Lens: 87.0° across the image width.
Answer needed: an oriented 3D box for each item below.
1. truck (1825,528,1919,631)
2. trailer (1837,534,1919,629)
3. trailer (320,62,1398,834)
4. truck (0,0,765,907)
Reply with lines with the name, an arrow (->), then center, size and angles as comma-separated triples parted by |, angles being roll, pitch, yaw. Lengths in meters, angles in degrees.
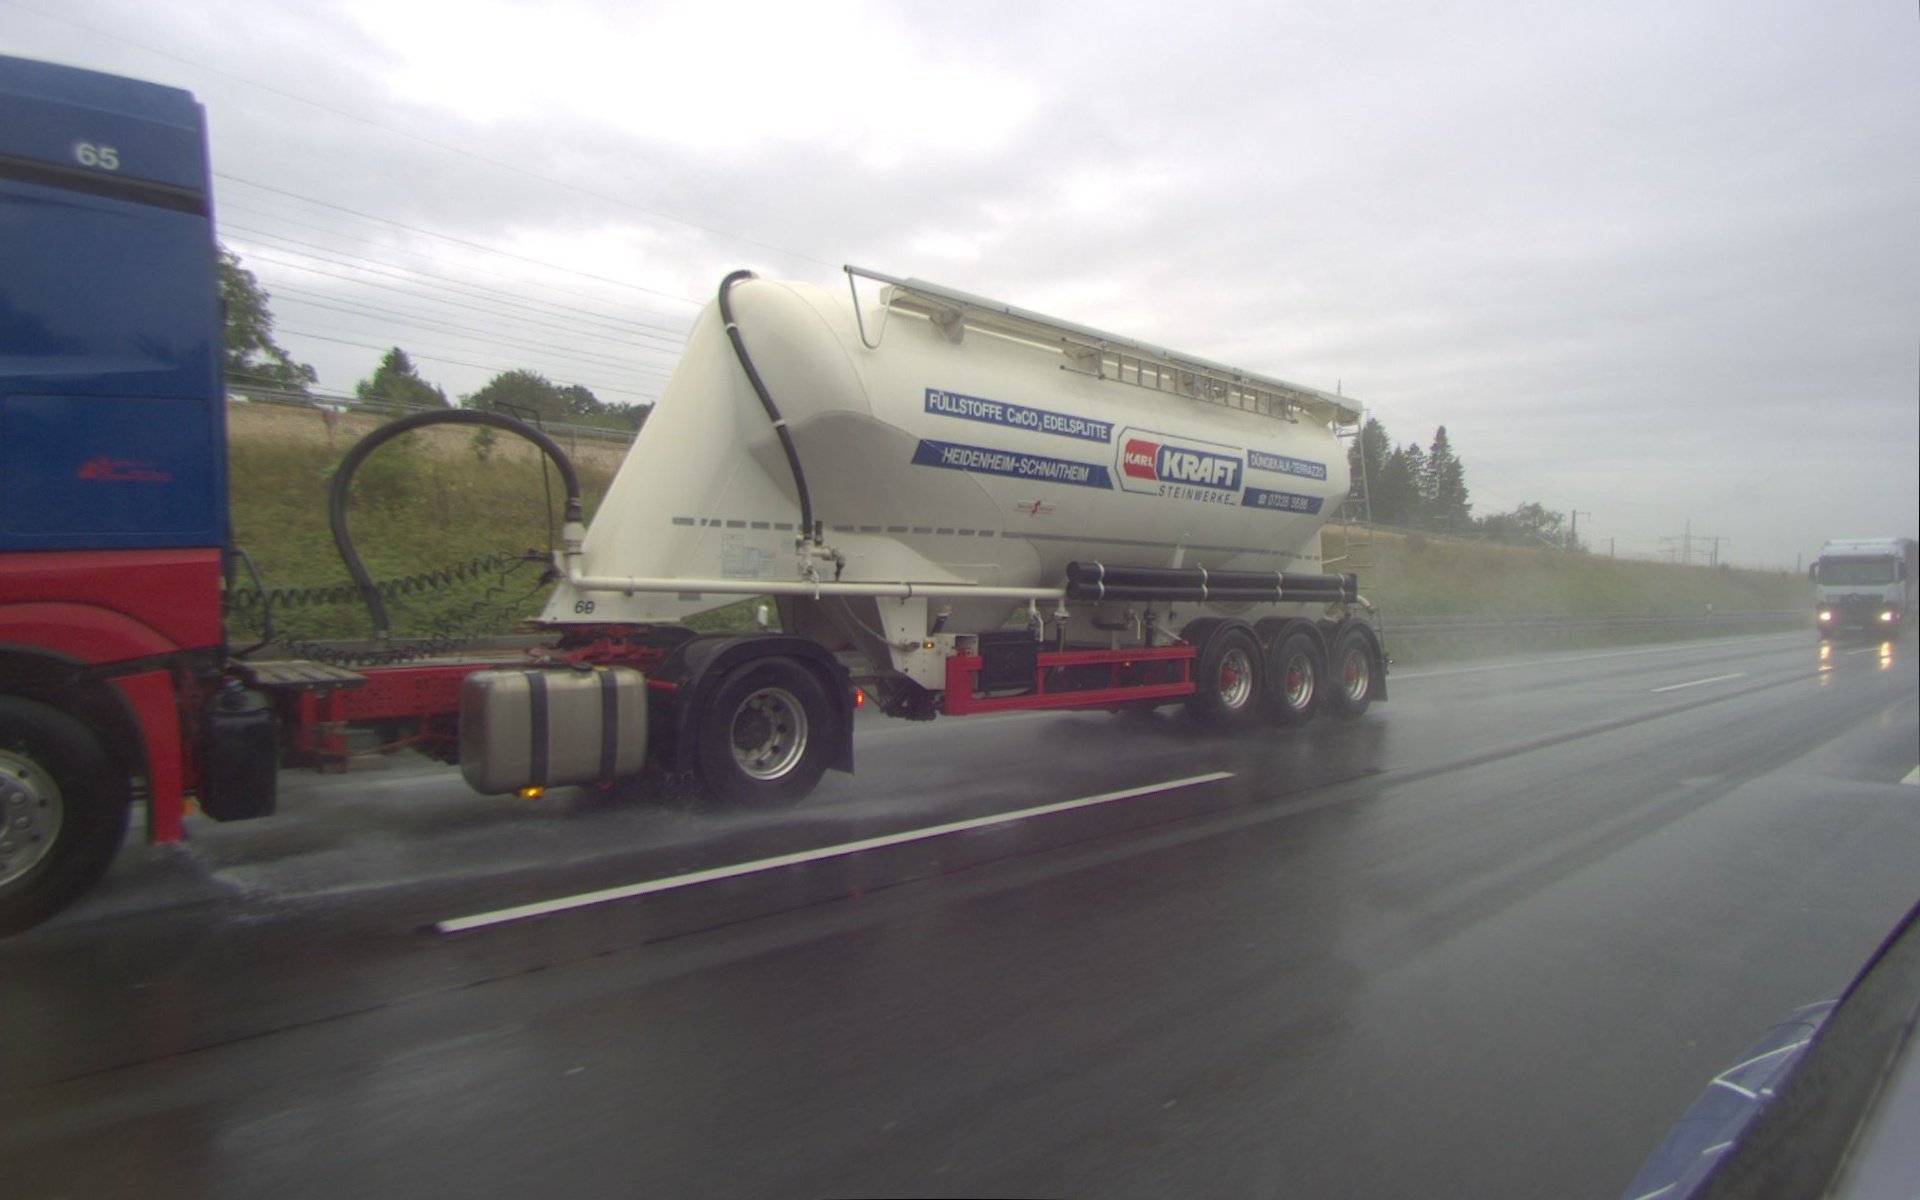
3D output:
truck -> 37.723, -0.754, 41.524 | 6.089, 3.939, 2.456 | 1, -1, -41
trailer -> 43.467, -0.652, 46.541 | 16.253, 3.814, 2.484 | 1, -1, -41
trailer -> 0.466, -0.729, 9.700 | 10.873, 3.932, 2.501 | 1, -1, -42
truck -> -3.956, -0.759, 5.785 | 4.987, 4.034, 2.501 | 1, -1, -41
